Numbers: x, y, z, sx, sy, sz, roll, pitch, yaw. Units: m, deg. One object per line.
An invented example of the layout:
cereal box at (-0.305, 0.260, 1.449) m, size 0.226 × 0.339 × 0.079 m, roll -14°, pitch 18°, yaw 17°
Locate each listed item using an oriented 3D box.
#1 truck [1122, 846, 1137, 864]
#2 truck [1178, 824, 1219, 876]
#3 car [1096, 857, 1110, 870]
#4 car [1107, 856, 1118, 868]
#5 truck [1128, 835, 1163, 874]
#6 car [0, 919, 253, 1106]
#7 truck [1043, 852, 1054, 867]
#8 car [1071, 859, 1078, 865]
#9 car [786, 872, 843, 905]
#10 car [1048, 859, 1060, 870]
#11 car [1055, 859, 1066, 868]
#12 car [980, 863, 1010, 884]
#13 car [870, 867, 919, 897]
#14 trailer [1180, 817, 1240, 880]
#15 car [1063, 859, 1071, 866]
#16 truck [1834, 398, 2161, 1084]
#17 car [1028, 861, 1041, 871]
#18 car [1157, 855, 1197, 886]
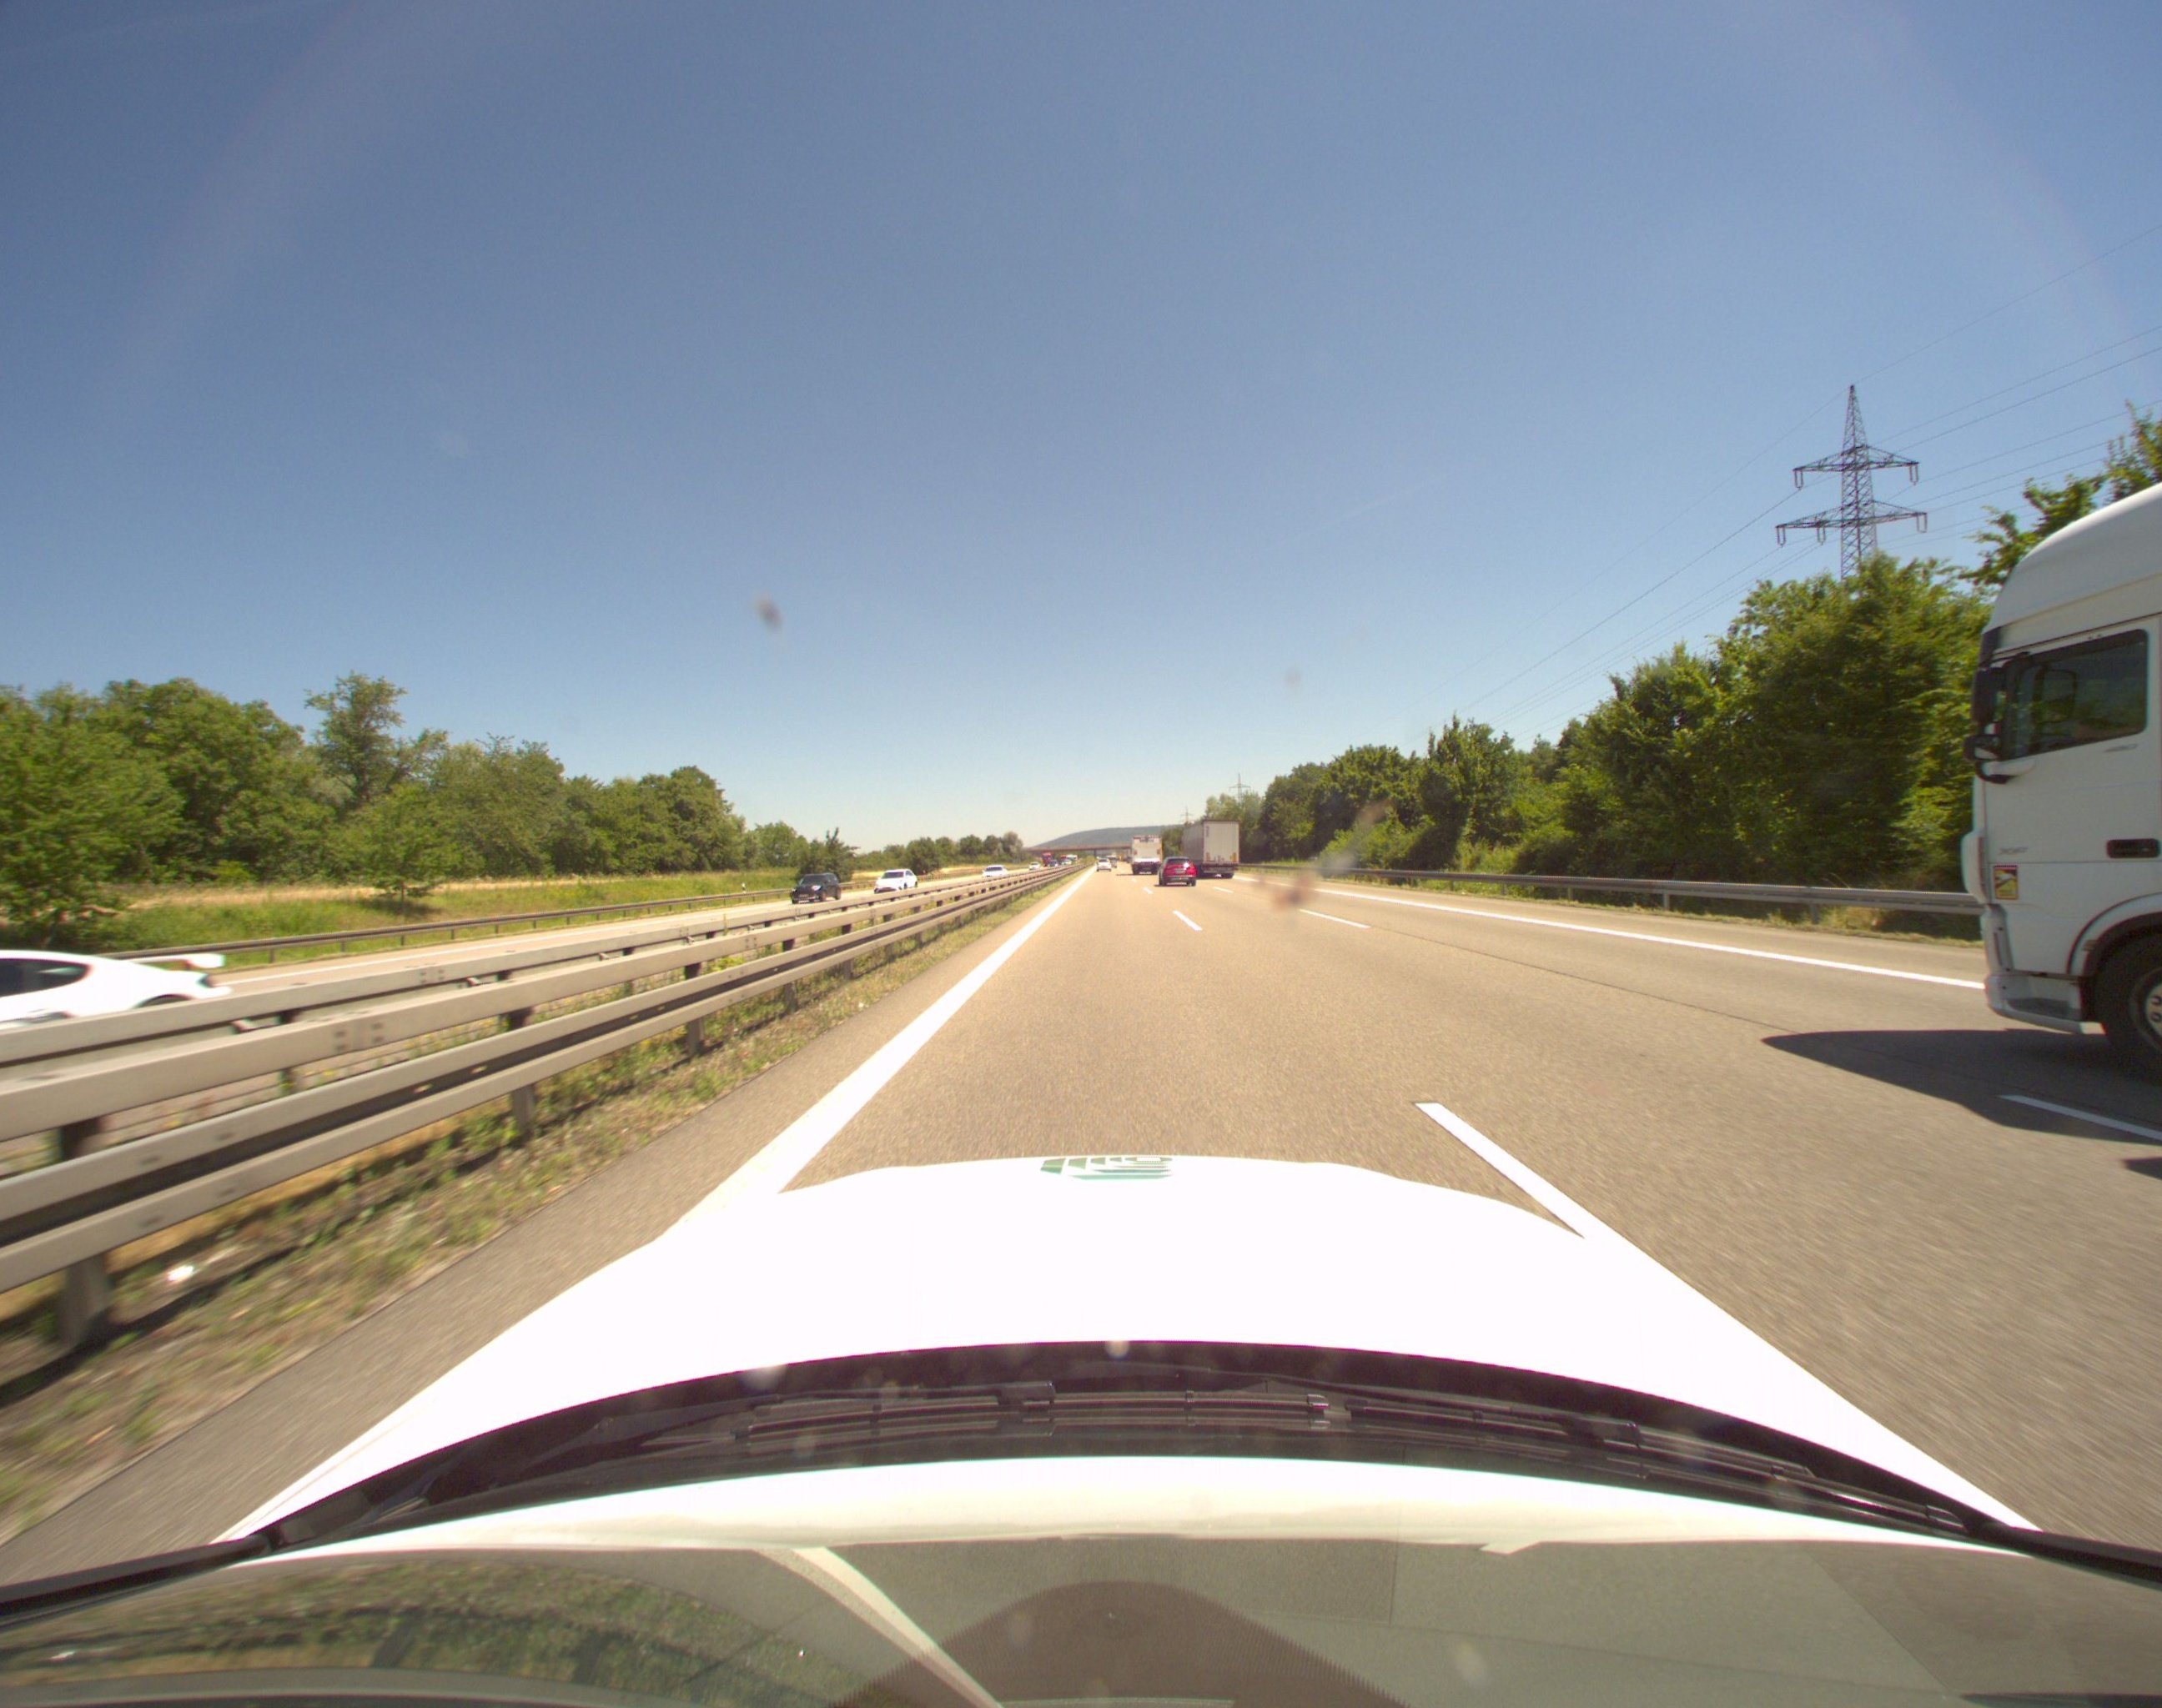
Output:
truck at (13.404, 0.322, 225.684) m, size 3.507 × 4.416 × 14.596 m, roll -3°, pitch 0°, yaw 2°
truck at (9.859, -0.298, 68.820) m, size 2.784 × 4.164 × 5.725 m, roll -2°, pitch 0°, yaw 2°
car at (2.629, 1.120, 96.219) m, size 1.601 × 1.467 × 4.002 m, roll -2°, pitch 0°, yaw 2°
car at (4.965, 1.259, 128.150) m, size 1.754 × 1.850 × 4.002 m, roll -2°, pitch 0°, yaw 2°
truck at (5.878, 0.065, 74.909) m, size 2.772 × 3.373 × 8.130 m, roll -1°, pitch -1°, yaw 2°
car at (-9.331, 1.368, 6.223) m, size 1.682 × 1.314 × 4.086 m, roll -4°, pitch 0°, yaw 2°
truck at (-9.562, 1.593, 239.170) m, size 2.751 × 4.014 × 5.752 m, roll -4°, pitch 0°, yaw 1°
car at (-1.914, 2.333, 243.591) m, size 1.802 × 1.647 × 3.962 m, roll -3°, pitch 0°, yaw 1°
car at (-15.131, 1.914, 46.433) m, size 1.726 × 1.594 × 3.904 m, roll -4°, pitch 0°, yaw 2°
car at (-4.699, 1.804, 143.365) m, size 1.761 × 1.750 × 3.987 m, roll -3°, pitch 0°, yaw 2°
car at (-4.253, 1.940, 167.623) m, size 1.952 × 1.772 × 4.444 m, roll -3°, pitch 0°, yaw 2°
car at (-6.891, 1.560, 65.687) m, size 1.788 × 1.492 × 4.240 m, roll -4°, pitch 0°, yaw 2°
car at (-11.178, 1.662, 48.982) m, size 1.829 × 1.585 × 3.890 m, roll -4°, pitch 0°, yaw 2°
trailer at (9.601, -0.328, 62.193) m, size 2.778 × 4.164 × 13.581 m, roll -2°, pitch 0°, yaw 2°
car at (-3.522, 2.188, 206.821) m, size 1.802 × 1.536 × 3.962 m, roll -3°, pitch 0°, yaw 1°
truck at (7.834, -0.696, 3.961) m, size 2.726 × 4.120 × 6.127 m, roll -1°, pitch 0°, yaw 2°
car at (-8.330, 2.142, 146.474) m, size 1.872 × 1.566 × 4.194 m, roll -3°, pitch 0°, yaw 2°
car at (5.166, 0.868, 44.056) m, size 1.796 × 1.545 × 4.002 m, roll -1°, pitch 0°, yaw 2°
